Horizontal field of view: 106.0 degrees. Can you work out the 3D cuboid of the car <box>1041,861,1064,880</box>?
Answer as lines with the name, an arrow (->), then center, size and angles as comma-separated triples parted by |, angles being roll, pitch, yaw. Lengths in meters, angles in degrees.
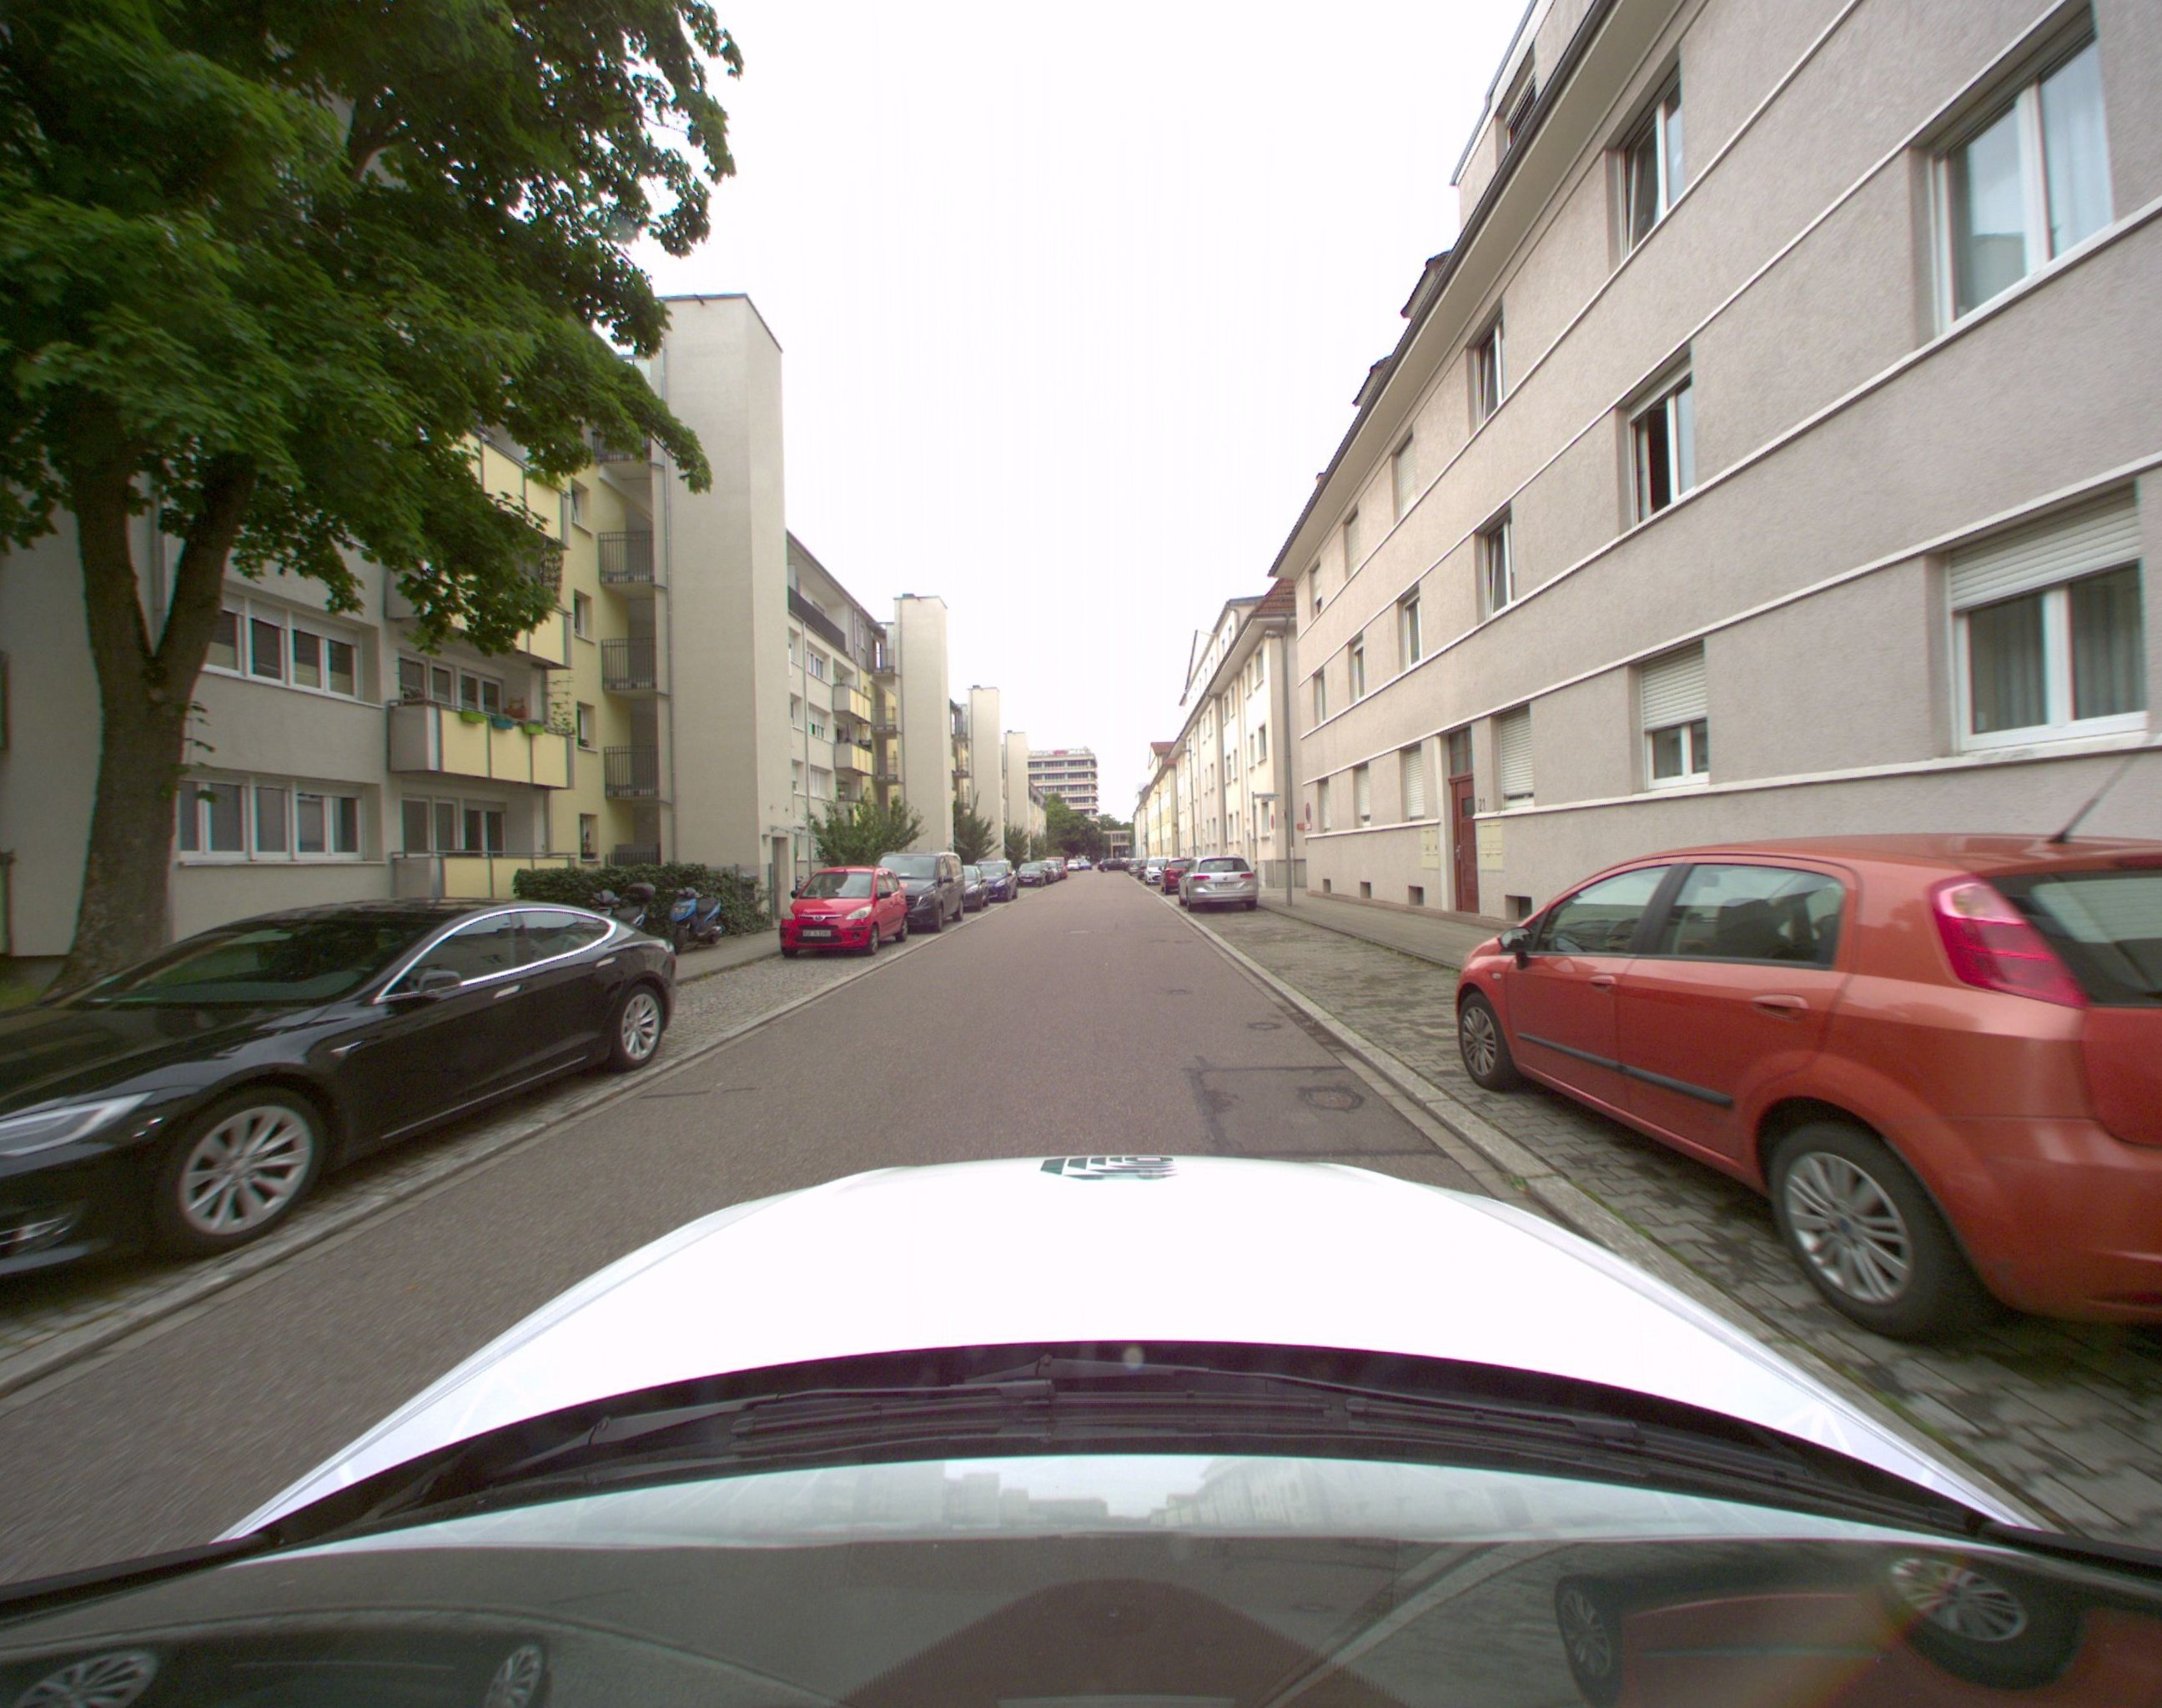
car -> -2.321, 1.360, 67.570 | 1.665, 1.487, 3.743 | -1, 0, 2

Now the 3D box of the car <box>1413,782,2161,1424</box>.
car -> 3.175, 0.572, 3.861 | 1.690, 1.525, 3.827 | -3, 0, 2

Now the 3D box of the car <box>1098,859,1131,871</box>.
car -> 3.834, 1.267, 93.059 | 3.714, 1.214, 1.545 | -1, 0, 2

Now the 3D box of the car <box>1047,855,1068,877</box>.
car -> -2.083, 1.049, 72.677 | 1.665, 1.938, 3.743 | -1, 0, 2

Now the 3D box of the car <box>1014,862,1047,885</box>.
car -> -3.085, 1.196, 50.580 | 1.665, 1.352, 3.818 | -1, 0, 2

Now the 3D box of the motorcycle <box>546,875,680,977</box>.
motorcycle -> -7.044, 1.022, 12.415 | 0.675, 1.356, 2.230 | 1, 0, 2

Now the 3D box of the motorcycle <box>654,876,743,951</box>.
motorcycle -> -6.894, 1.038, 14.793 | 0.633, 1.230, 1.834 | 2, 0, 2

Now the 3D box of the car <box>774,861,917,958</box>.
car -> -4.273, 0.940, 15.334 | 1.558, 1.569, 3.642 | 1, 0, 1

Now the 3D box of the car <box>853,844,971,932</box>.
car -> -4.043, 0.754, 20.343 | 1.873, 1.904, 5.029 | 1, 0, 0

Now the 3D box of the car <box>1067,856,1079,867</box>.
car -> -1.068, 1.002, 113.534 | 1.533, 1.450, 3.743 | -1, 0, 2

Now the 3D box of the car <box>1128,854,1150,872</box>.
car -> 5.206, 0.798, 73.877 | 1.812, 1.577, 3.885 | -1, 0, 2

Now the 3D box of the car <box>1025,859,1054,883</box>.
car -> -2.805, 1.115, 56.199 | 1.665, 1.564, 3.665 | -1, 0, 2

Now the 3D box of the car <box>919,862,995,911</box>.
car -> -4.044, 1.012, 27.195 | 1.824, 1.459, 4.259 | -1, 0, 0

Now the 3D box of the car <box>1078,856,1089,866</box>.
car -> 0.420, 1.033, 124.191 | 1.534, 1.450, 3.740 | -2, 0, -1

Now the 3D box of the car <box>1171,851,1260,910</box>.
car -> 3.625, 0.671, 22.712 | 1.749, 1.467, 4.600 | -1, 0, 1

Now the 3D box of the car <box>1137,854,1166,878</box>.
car -> 4.902, 0.794, 56.851 | 1.812, 1.577, 3.754 | -1, 0, 2

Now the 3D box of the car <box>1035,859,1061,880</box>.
car -> -2.477, 1.183, 62.420 | 1.665, 1.526, 4.254 | -1, 0, 2

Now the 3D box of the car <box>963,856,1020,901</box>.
car -> -3.530, 0.926, 32.804 | 1.764, 1.643, 4.354 | -1, 0, 0

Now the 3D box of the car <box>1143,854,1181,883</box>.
car -> 4.416, 0.780, 44.899 | 1.812, 1.504, 3.754 | -1, 0, 2

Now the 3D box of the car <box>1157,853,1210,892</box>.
car -> 4.101, 0.711, 33.139 | 1.664, 1.420, 4.000 | -3, 0, 1

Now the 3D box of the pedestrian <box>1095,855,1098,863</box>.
pedestrian -> 3.762, 1.189, 197.937 | 0.627, 2.014, 0.683 | 1, 0, 1

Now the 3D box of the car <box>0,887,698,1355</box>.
car -> -4.498, 1.010, 5.126 | 1.835, 1.421, 4.631 | 0, 0, 2
